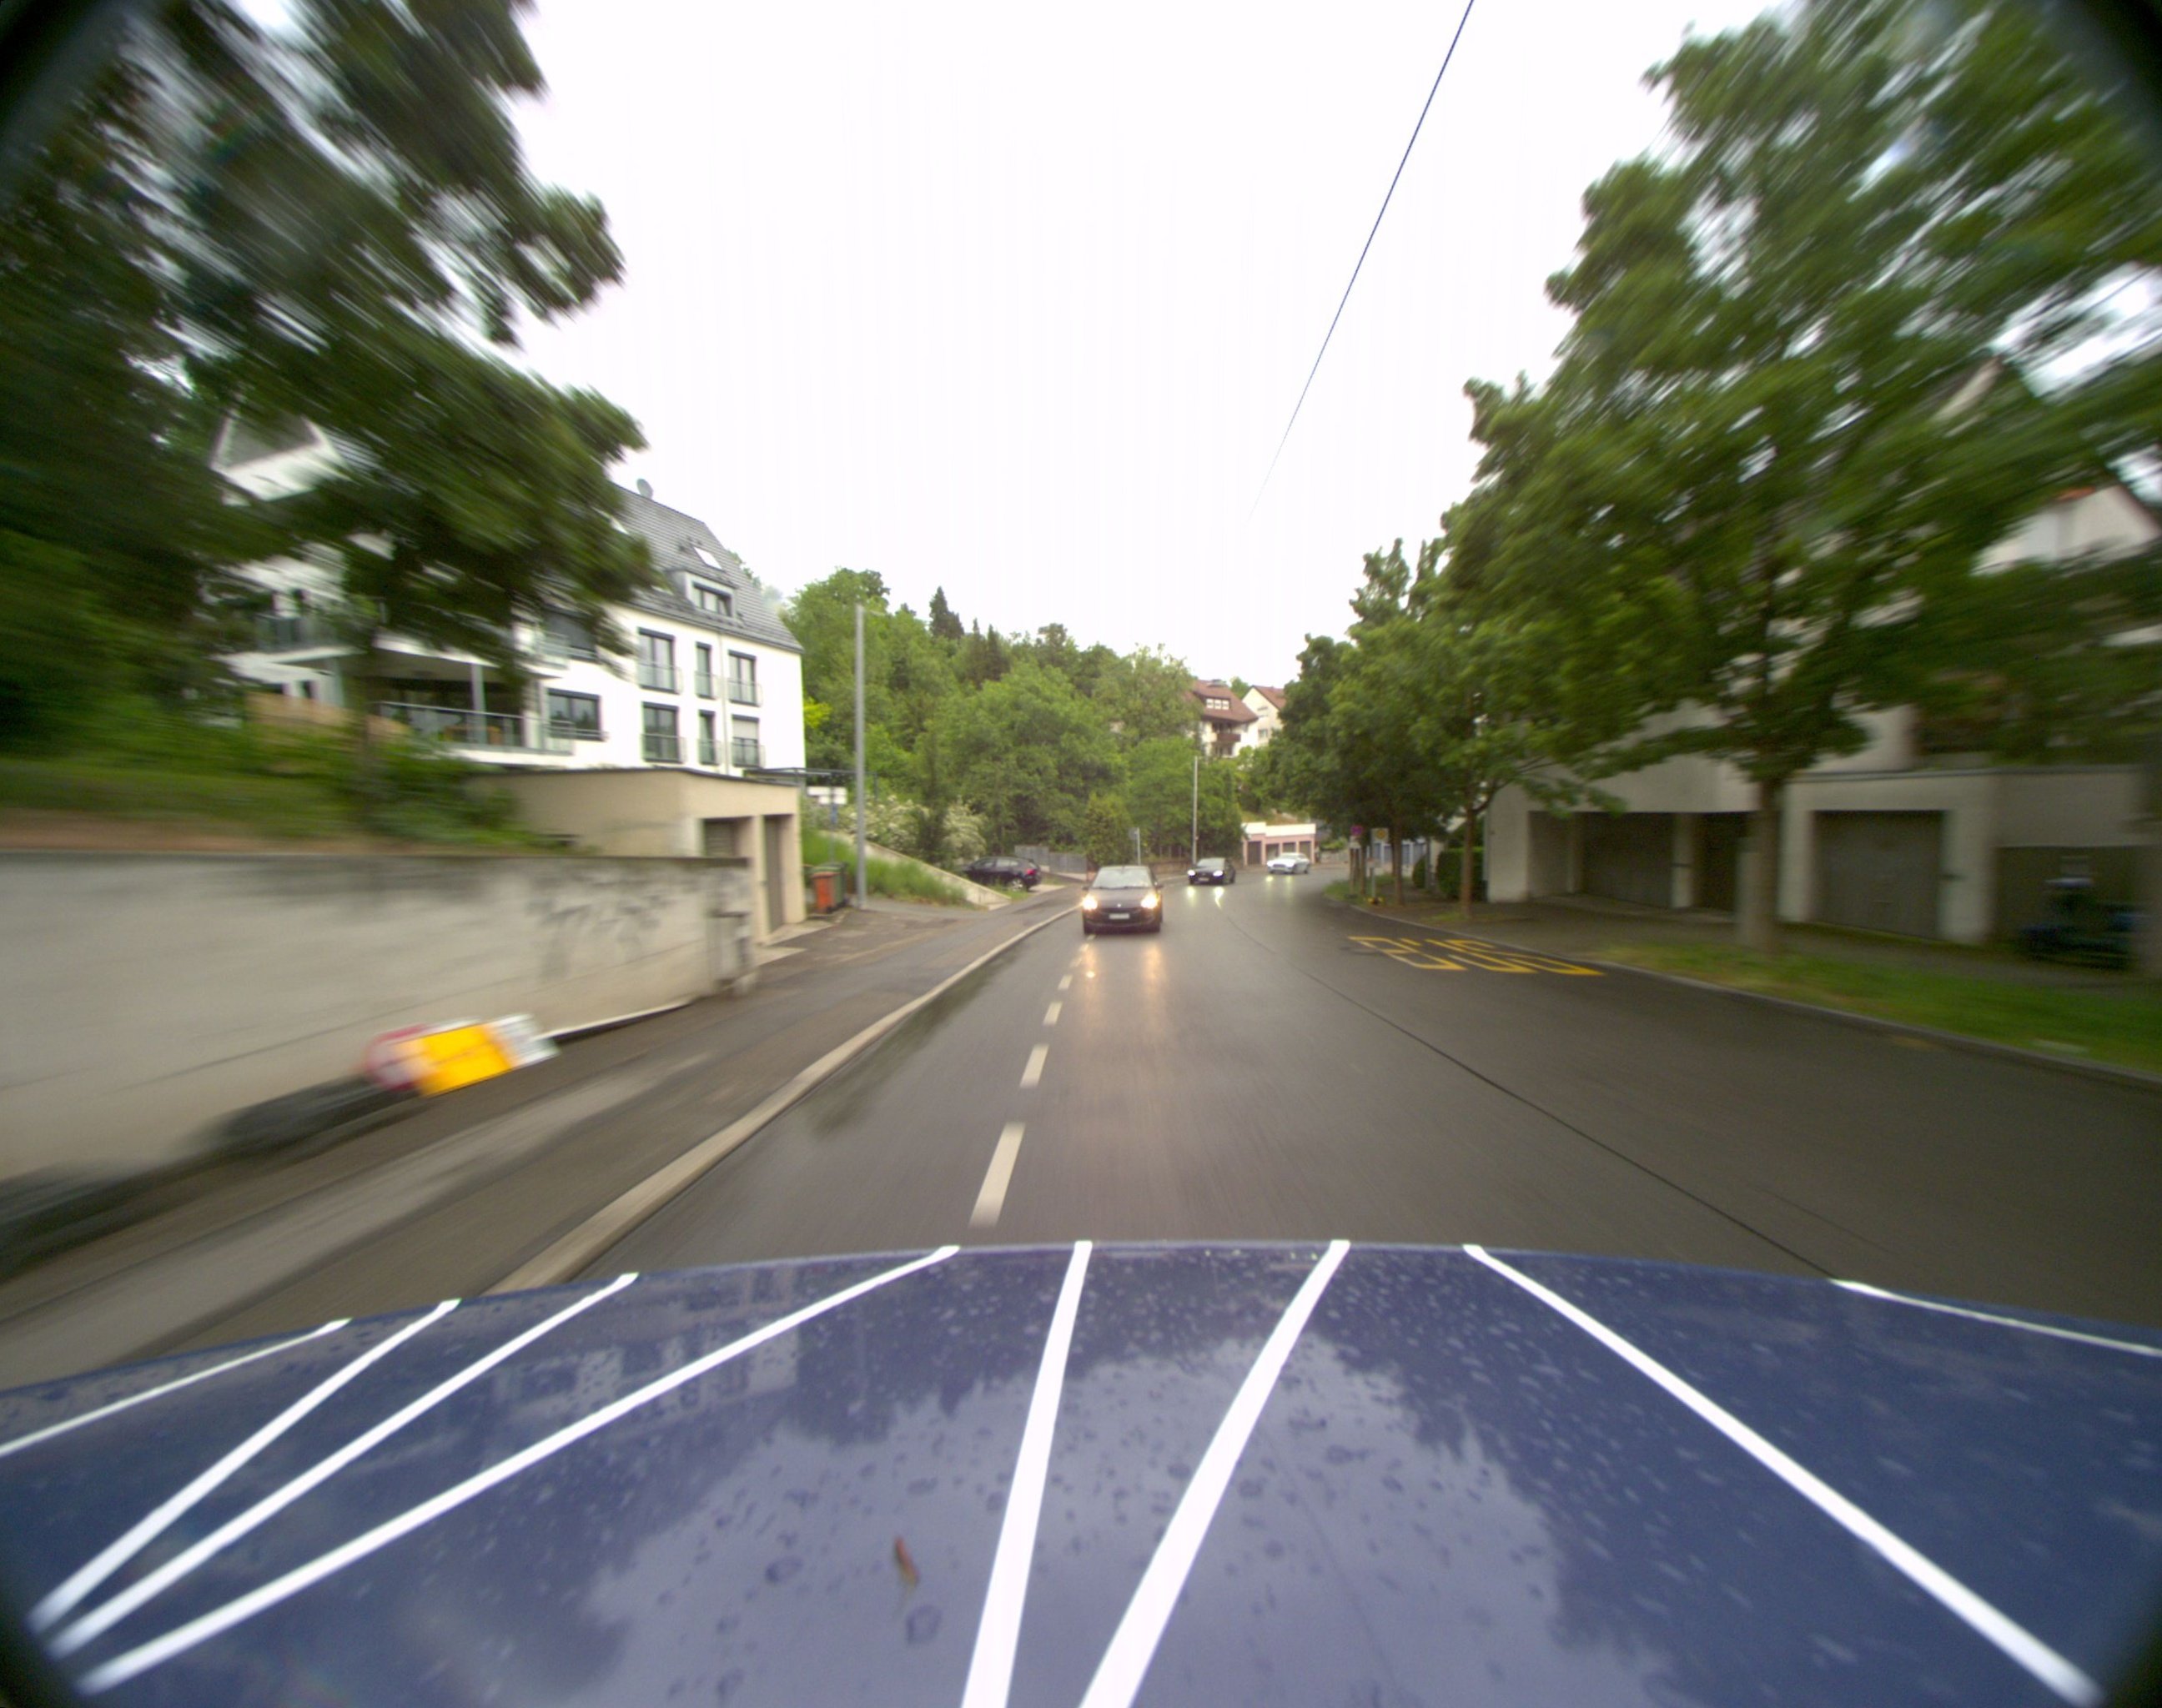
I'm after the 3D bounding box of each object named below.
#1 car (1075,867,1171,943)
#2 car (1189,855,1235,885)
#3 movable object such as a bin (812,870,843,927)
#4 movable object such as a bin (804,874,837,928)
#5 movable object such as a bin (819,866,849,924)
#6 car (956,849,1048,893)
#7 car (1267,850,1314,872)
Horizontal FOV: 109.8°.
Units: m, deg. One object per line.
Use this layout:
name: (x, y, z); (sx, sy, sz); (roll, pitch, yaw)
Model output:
car: (1.051, 1.066, 17.118); (1.576, 1.443, 3.590); (-2, 0, 12)
car: (7.169, 0.826, 41.196); (1.804, 1.480, 4.023); (0, 0, 19)
movable object such as a bin: (-5.725, 0.989, 17.197); (0.564, 1.261, 0.453); (1, 1, -3)
movable object such as a bin: (-5.714, 1.029, 16.687); (0.575, 1.169, 0.443); (1, 1, -3)
movable object such as a bin: (-5.752, 0.947, 17.700); (0.555, 1.343, 0.463); (1, 1, -3)
car: (-3.265, 0.669, 31.736); (3.465, 1.623, 1.580); (2, 1, 6)
car: (16.350, 0.554, 59.094); (2.008, 1.652, 4.455); (1, 0, 38)
